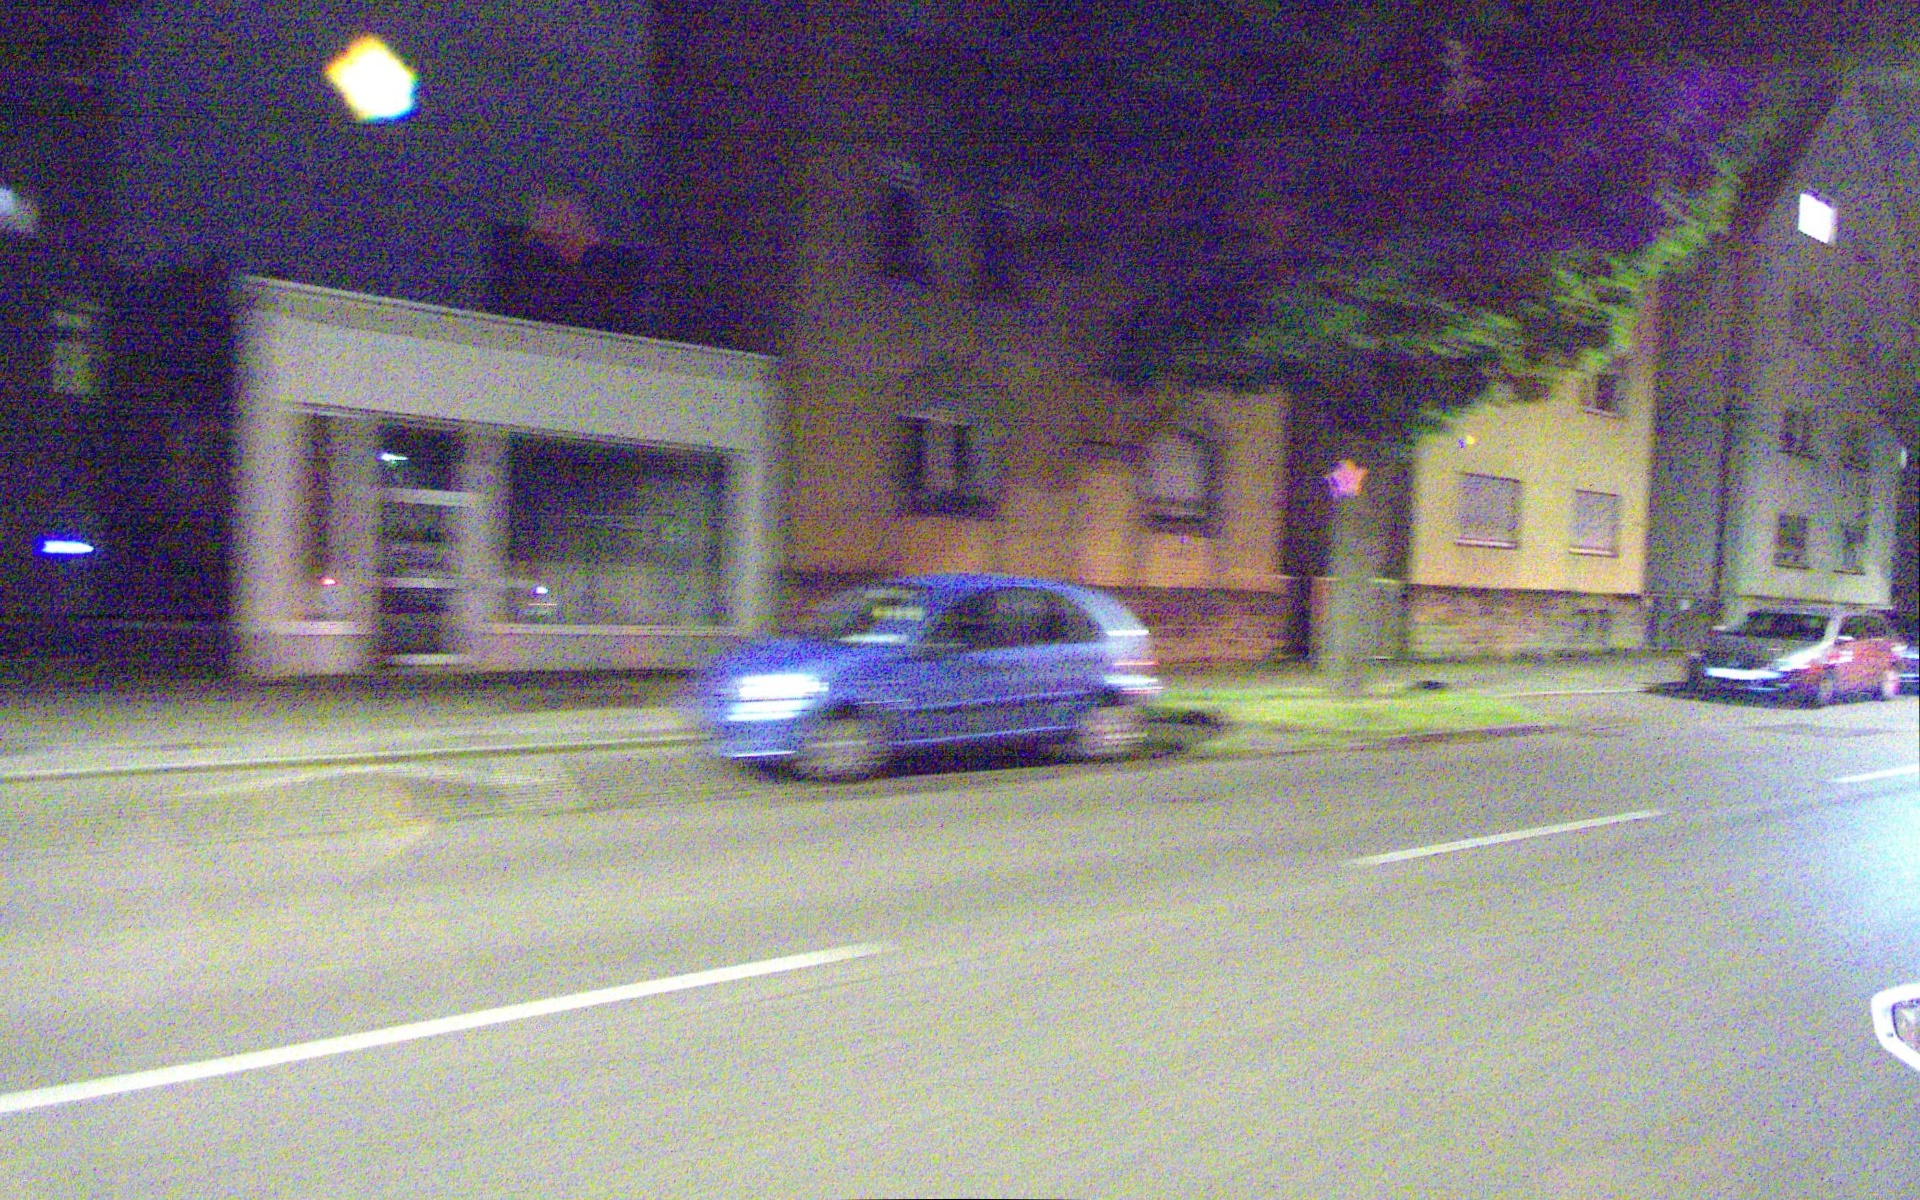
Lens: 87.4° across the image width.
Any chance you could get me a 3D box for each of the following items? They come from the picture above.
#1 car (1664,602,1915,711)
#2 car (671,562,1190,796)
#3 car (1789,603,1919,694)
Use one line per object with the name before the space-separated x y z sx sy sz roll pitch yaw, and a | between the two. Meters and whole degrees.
car | 13.632 0.860 16.430 4.715 1.505 1.758 1 1 -32
car | -0.179 0.523 8.315 3.943 1.514 1.705 1 2 -31
car | 17.908 0.876 19.116 4.808 1.505 1.759 1 1 -31
